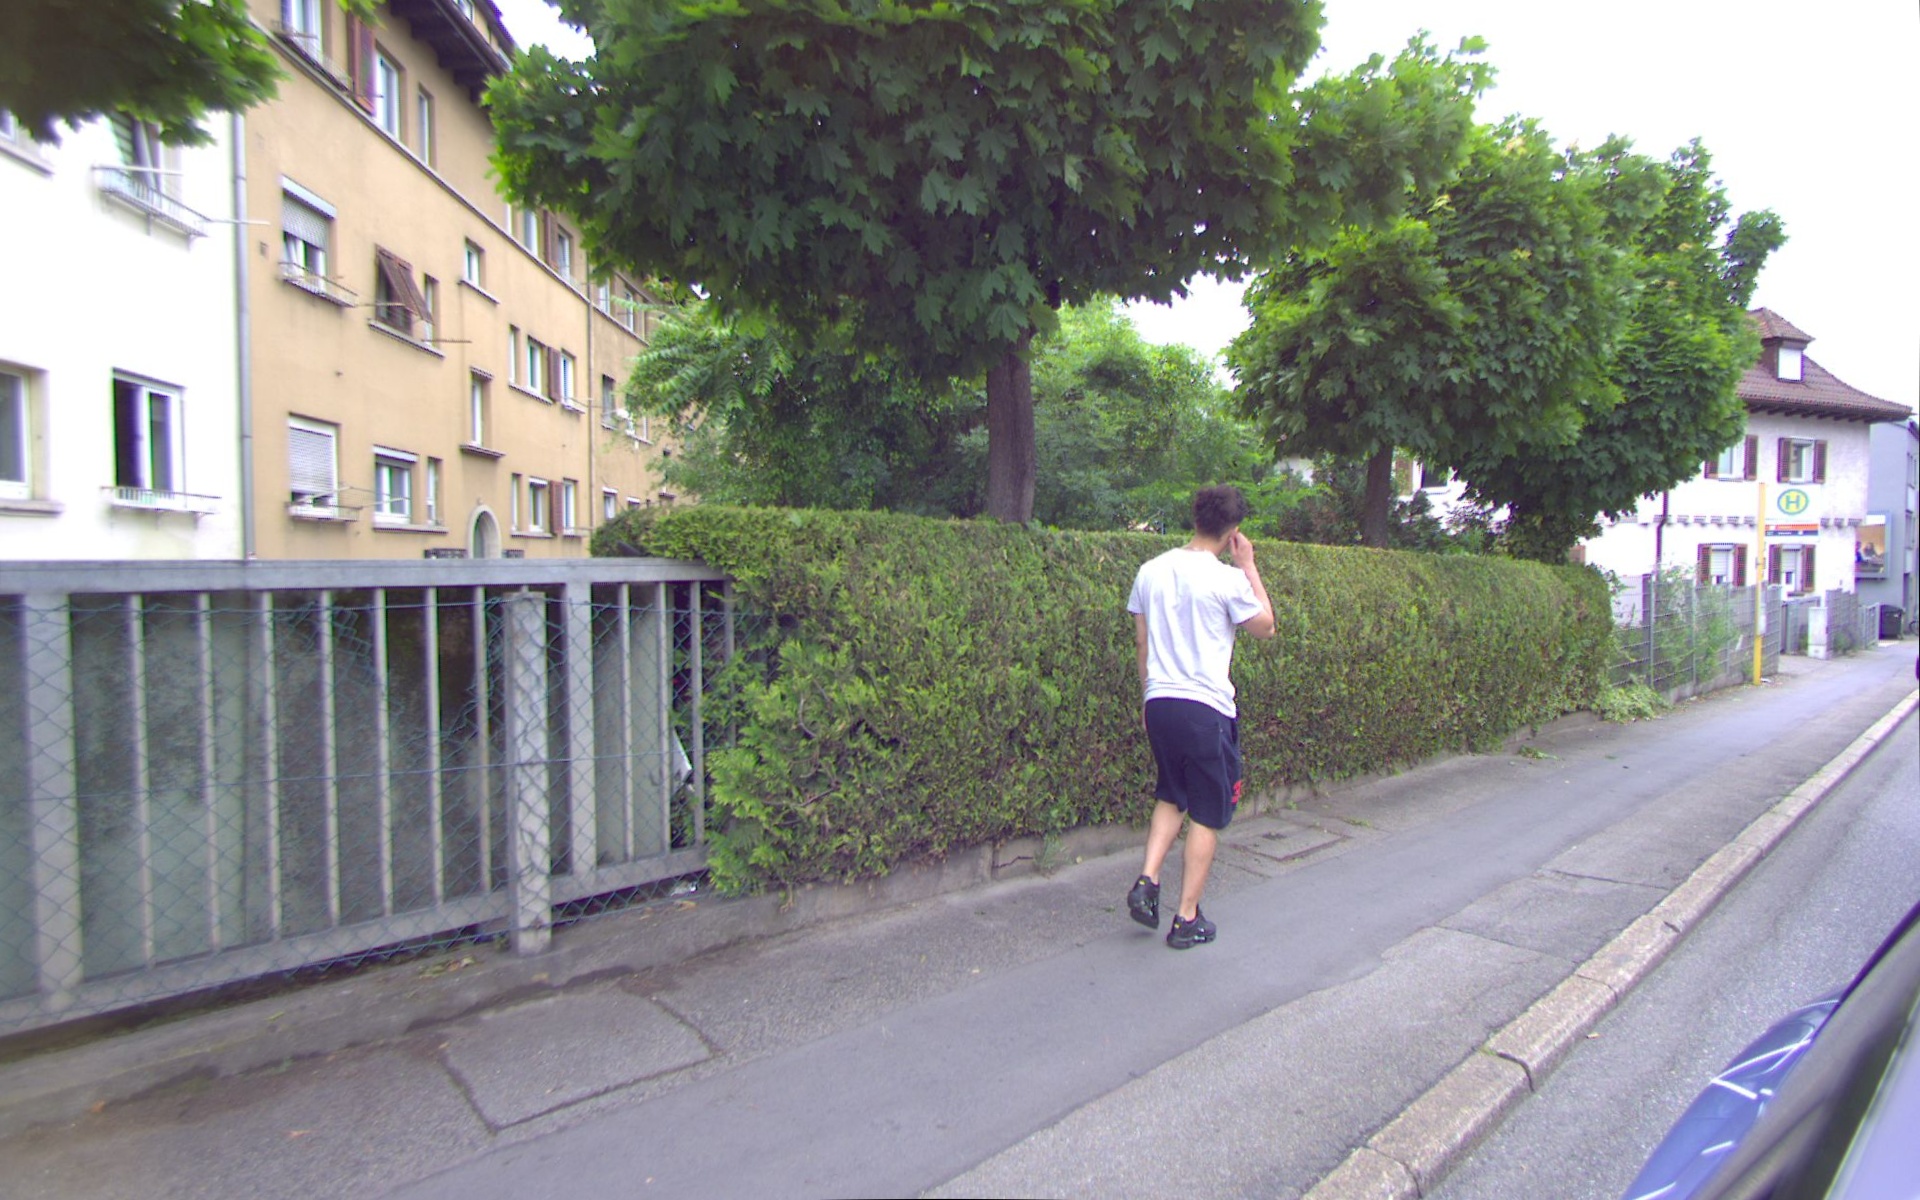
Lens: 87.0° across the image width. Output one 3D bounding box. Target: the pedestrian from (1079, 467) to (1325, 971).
[{"bbox_3d":[0.918,0.392,3.918,0.459,1.758,0.695,0,4,-42],"label":"pedestrian"}]
